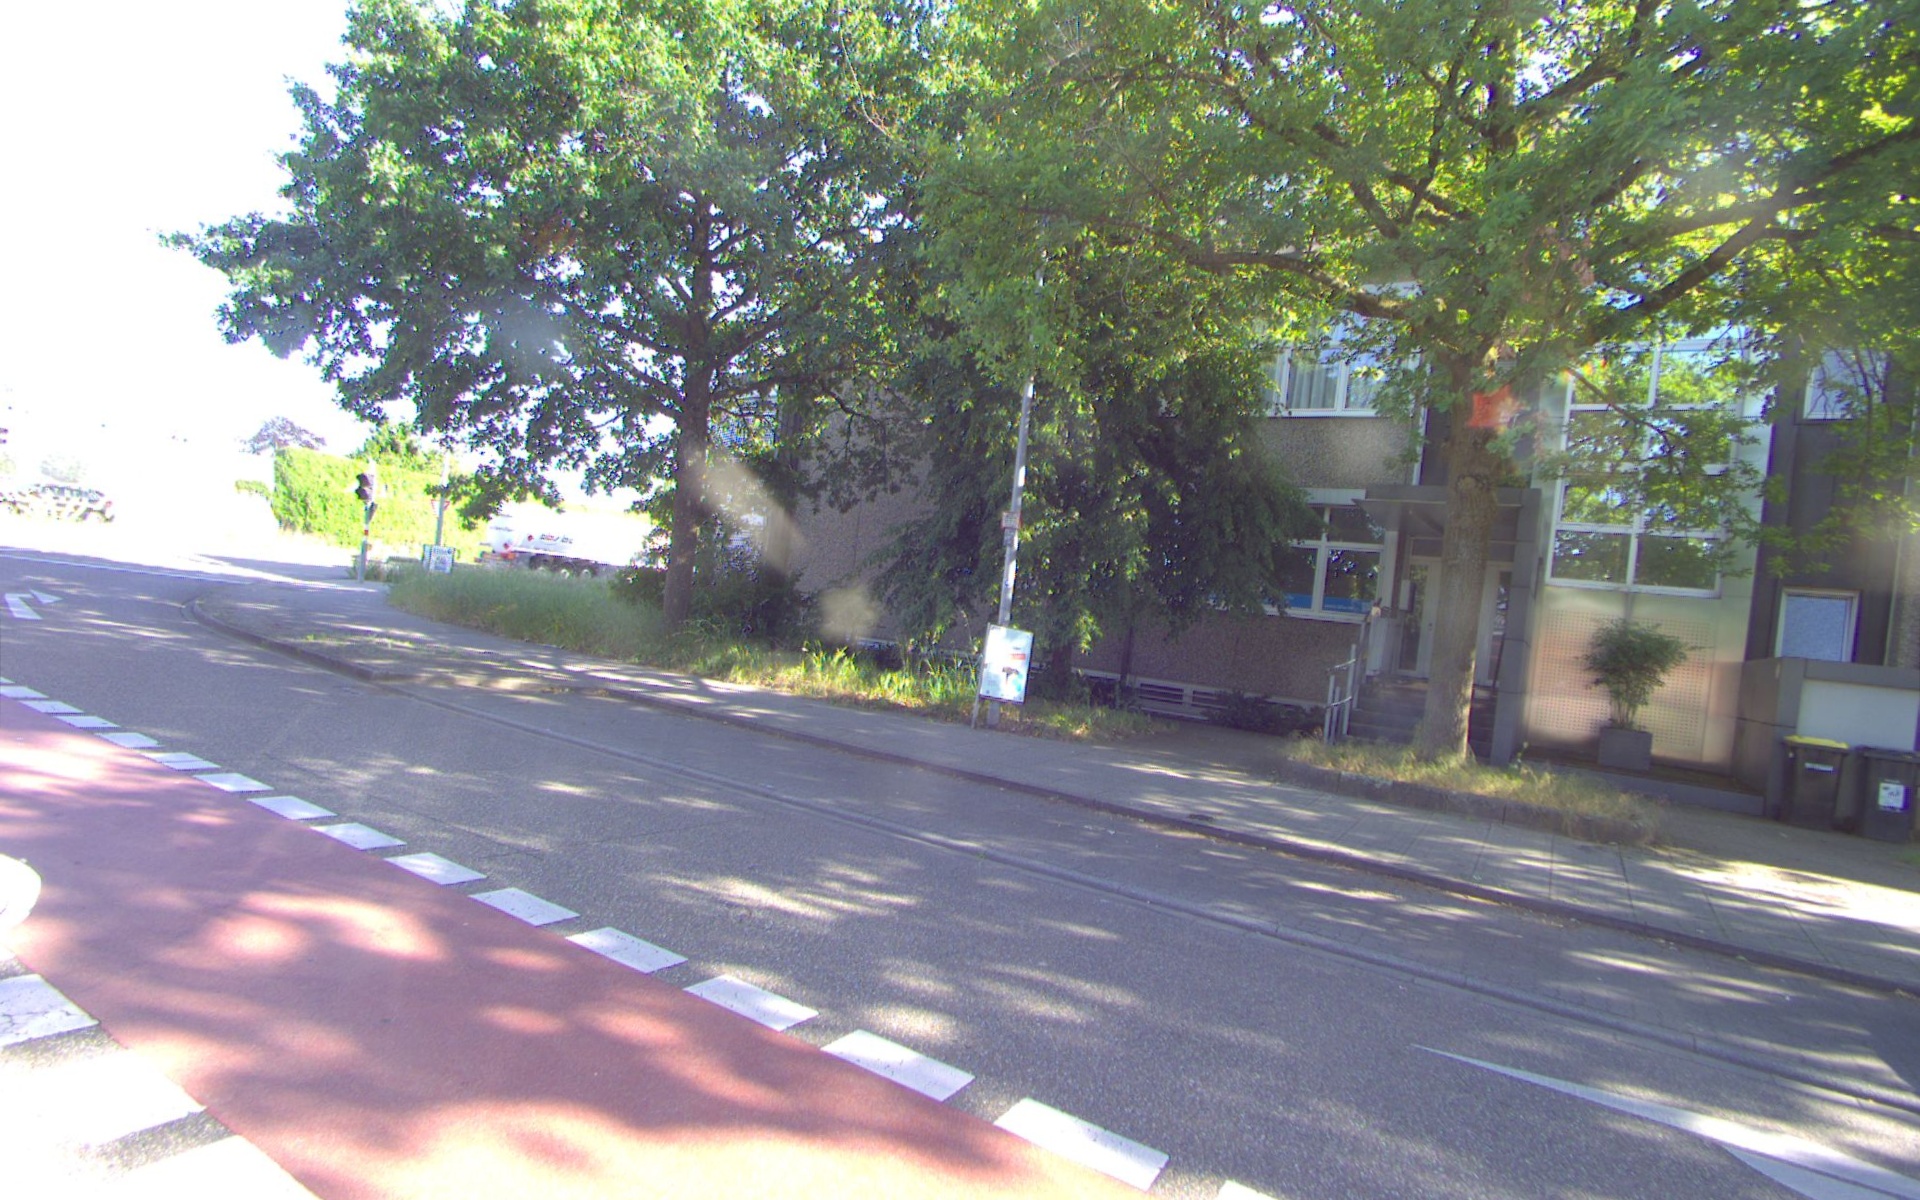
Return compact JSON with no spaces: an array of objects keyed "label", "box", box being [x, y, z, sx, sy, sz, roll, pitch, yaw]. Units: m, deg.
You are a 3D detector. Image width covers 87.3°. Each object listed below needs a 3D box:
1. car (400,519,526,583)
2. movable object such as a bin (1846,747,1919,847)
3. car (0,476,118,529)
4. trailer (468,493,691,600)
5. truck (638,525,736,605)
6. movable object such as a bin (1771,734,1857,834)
[{"label":"car","box":[-13.874,-1.322,28.276,1.433,1.311,3.412,7,-2,7]},{"label":"movable object such as a bin","box":[10.812,2.279,11.711,0.566,1.019,0.629,6,-1,31]},{"label":"car","box":[-33.830,-3.629,36.896,1.548,1.317,4.170,6,-2,28]},{"label":"trailer","box":[-18.098,-2.368,49.194,2.352,3.740,11.507,7,-1,25]},{"label":"truck","box":[-15.050,-1.884,55.807,2.368,3.740,4.813,7,0,25]},{"label":"movable object such as a bin","box":[10.205,2.181,12.043,0.571,1.045,0.713,7,0,31]}]
